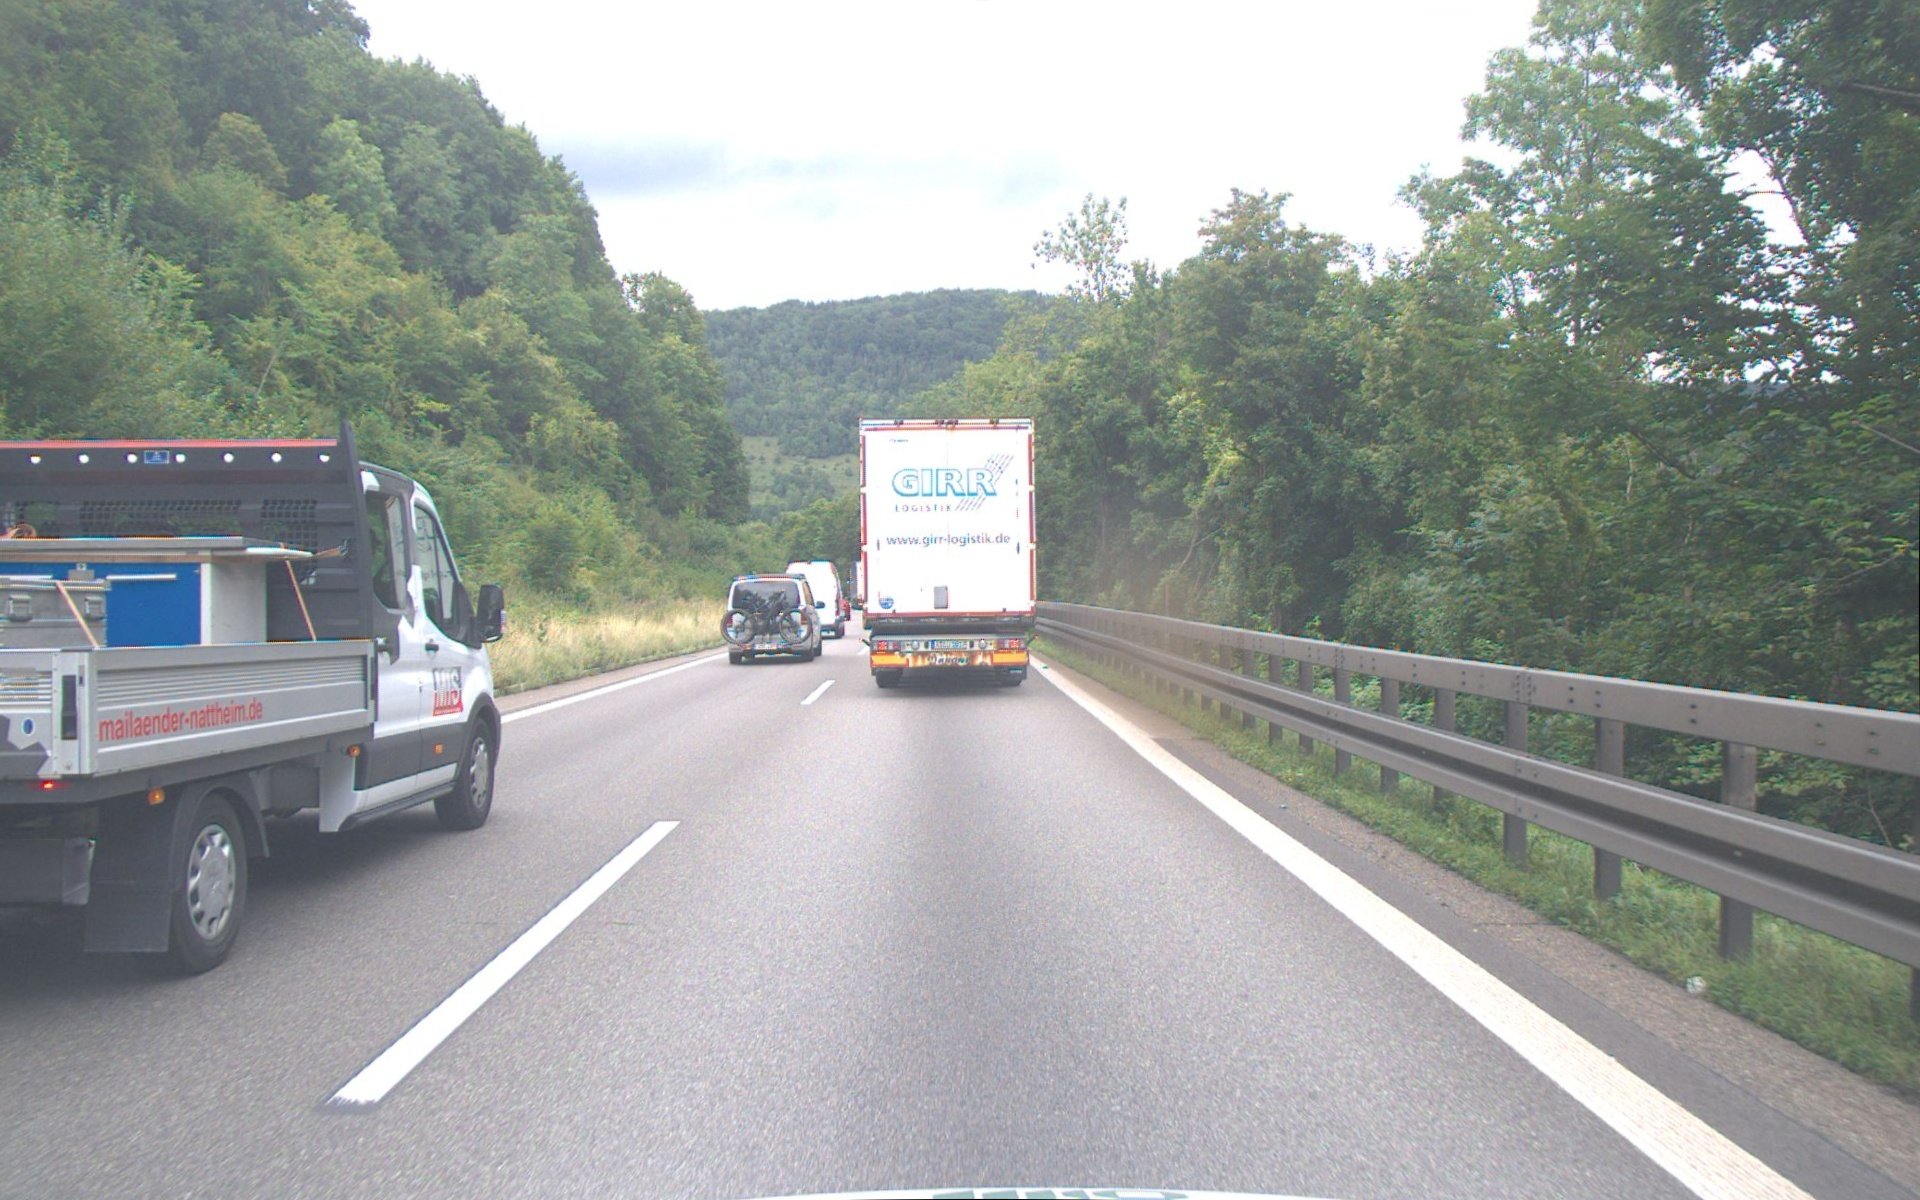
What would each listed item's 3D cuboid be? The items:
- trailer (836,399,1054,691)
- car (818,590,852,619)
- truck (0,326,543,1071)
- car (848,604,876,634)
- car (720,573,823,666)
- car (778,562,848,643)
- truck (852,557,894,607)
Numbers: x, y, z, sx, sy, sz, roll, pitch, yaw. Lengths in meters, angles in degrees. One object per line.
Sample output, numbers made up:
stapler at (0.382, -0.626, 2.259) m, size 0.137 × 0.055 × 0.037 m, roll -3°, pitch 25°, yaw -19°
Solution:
trailer at (-0.260, -0.802, 28.139) m, size 3.069 × 4.113 × 9.438 m, roll 0°, pitch 0°, yaw -1°
car at (-6.910, 0.227, 91.511) m, size 1.649 × 1.478 × 3.764 m, roll -2°, pitch 0°, yaw -1°
truck at (-4.012, 0.312, 8.502) m, size 2.302 × 2.313 × 6.845 m, roll -1°, pitch 0°, yaw -3°
car at (-6.988, 1.331, 117.796) m, size 1.954 × 2.049 × 3.997 m, roll -1°, pitch 0°, yaw -4°
car at (-4.217, 0.393, 37.799) m, size 1.978 × 1.947 × 5.560 m, roll -1°, pitch 0°, yaw -3°
car at (-5.114, 0.077, 58.122) m, size 2.081 × 2.644 × 5.561 m, roll -2°, pitch 0°, yaw -2°
truck at (-7.309, -1.445, 138.644) m, size 3.010 × 3.945 × 8.447 m, roll -1°, pitch 0°, yaw -6°
